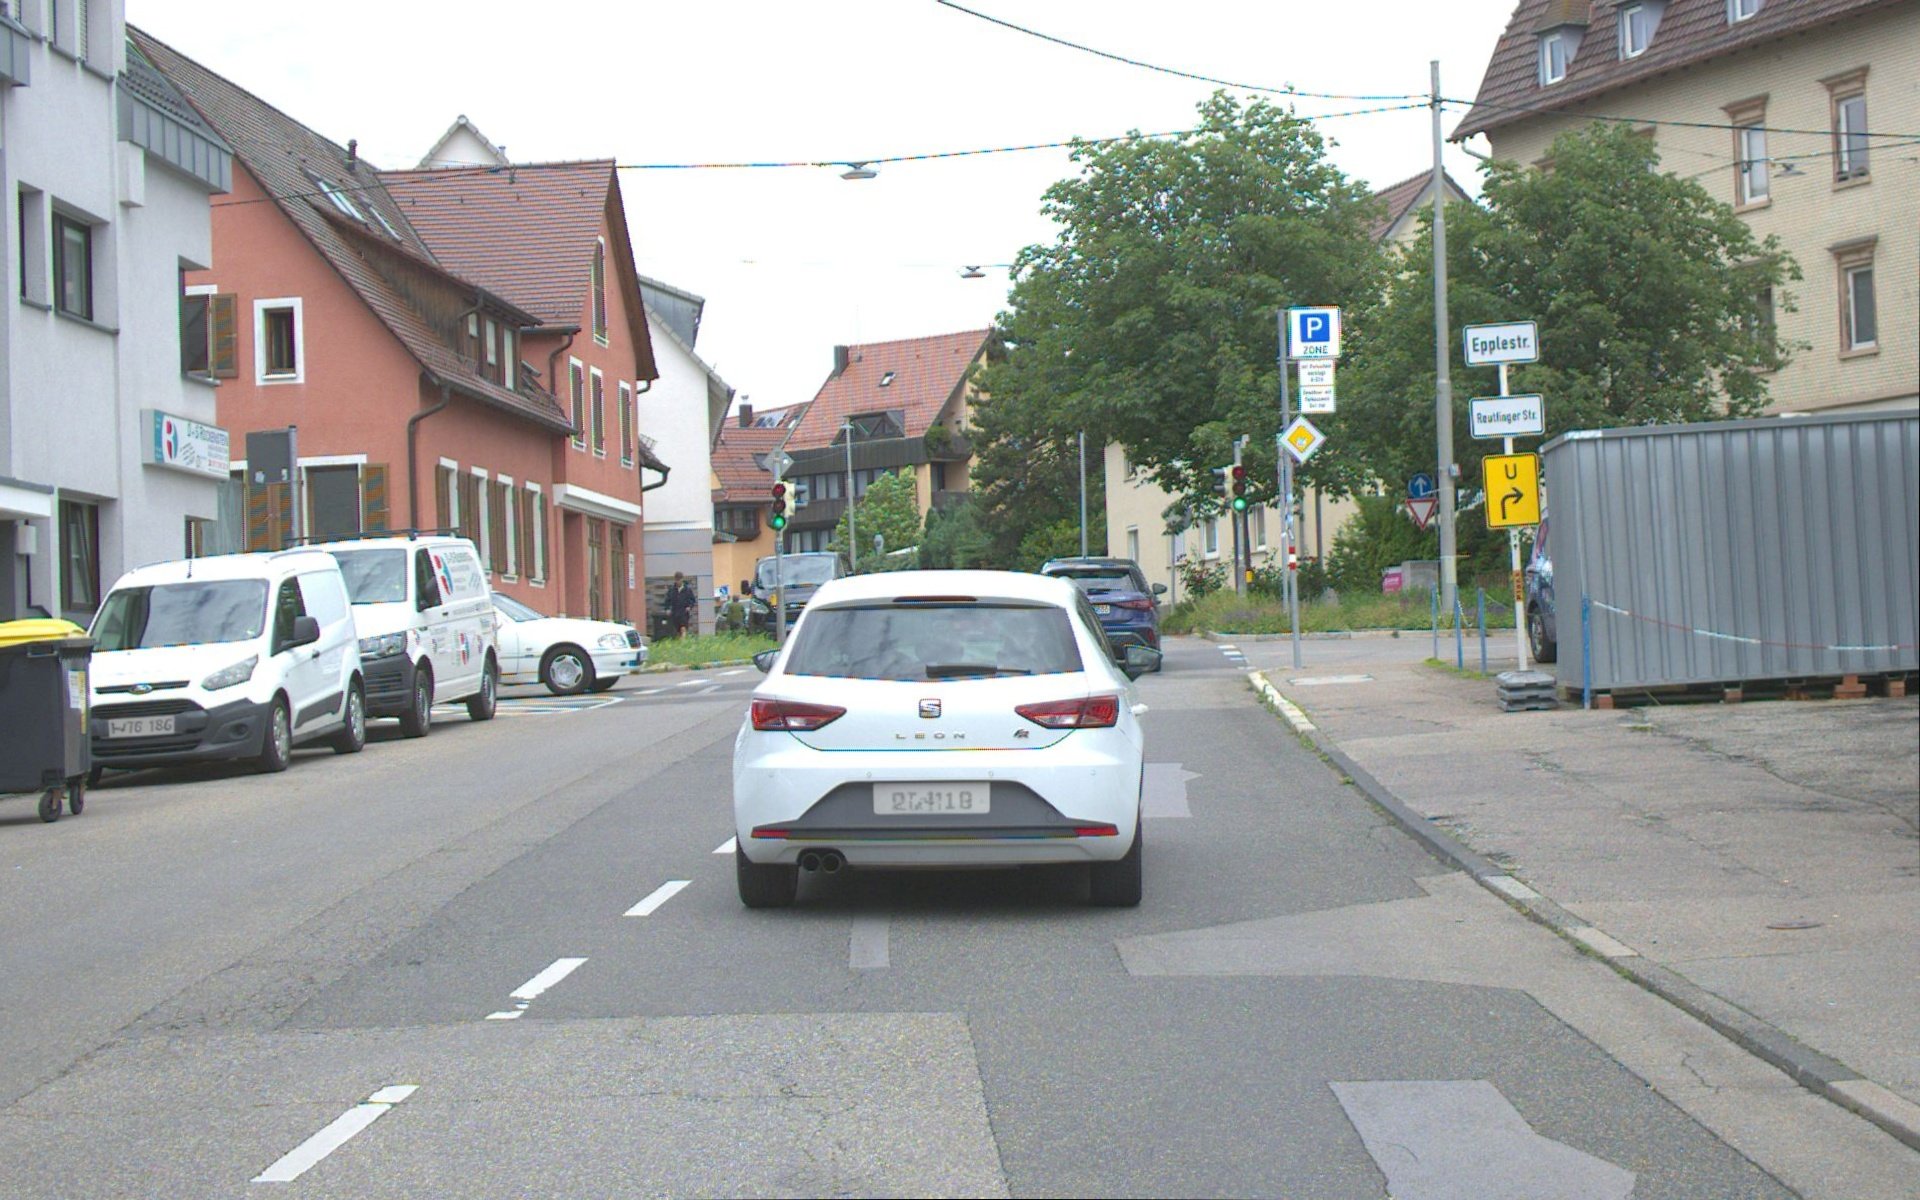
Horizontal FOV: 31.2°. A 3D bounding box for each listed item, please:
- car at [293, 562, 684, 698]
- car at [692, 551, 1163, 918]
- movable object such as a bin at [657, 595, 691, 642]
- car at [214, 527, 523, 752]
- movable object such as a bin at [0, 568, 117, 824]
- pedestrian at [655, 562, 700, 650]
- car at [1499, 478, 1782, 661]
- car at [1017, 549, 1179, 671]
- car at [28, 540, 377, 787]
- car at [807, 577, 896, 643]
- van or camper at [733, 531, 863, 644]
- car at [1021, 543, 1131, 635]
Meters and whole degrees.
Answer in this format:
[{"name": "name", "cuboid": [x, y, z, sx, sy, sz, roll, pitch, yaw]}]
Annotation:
[{"name": "car", "cuboid": [-5.999, 0.374, 44.050, 4.554, 1.440, 2.000, -3, 0, 6]}, {"name": "car", "cuboid": [-0.020, 0.532, 15.885, 1.759, 1.447, 3.999, -1, 0, 5]}, {"name": "movable object such as a bin", "cuboid": [-6.419, 0.416, 77.245, 0.665, 1.015, 0.795, -2, 0, -1]}, {"name": "car", "cuboid": [-5.839, 0.326, 34.551, 1.812, 1.999, 4.762, -4, 1, 5]}, {"name": "movable object such as a bin", "cuboid": [-6.404, 0.631, 23.025, 1.140, 1.627, 1.563, -3, 1, -4]}, {"name": "pedestrian", "cuboid": [-5.796, 0.110, 70.534, 0.800, 1.778, 0.893, -1, 0, 2]}, {"name": "car", "cuboid": [7.180, -0.340, 36.736, 1.746, 1.733, 4.572, -3, 1, -4]}, {"name": "car", "cuboid": [1.717, 0.154, 43.934, 1.758, 1.447, 4.000, -1, -1, -2]}, {"name": "car", "cuboid": [-6.289, 0.462, 29.012, 1.733, 1.825, 4.297, -4, 1, 2]}, {"name": "car", "cuboid": [-2.825, 0.270, 88.462, 1.997, 1.627, 4.858, -1, -1, -5]}, {"name": "van or camper", "cuboid": [-3.203, -0.206, 68.977, 2.074, 1.999, 4.857, -4, -2, 2]}, {"name": "car", "cuboid": [1.964, -0.153, 58.124, 1.758, 1.447, 3.999, -1, -1, 2]}]
